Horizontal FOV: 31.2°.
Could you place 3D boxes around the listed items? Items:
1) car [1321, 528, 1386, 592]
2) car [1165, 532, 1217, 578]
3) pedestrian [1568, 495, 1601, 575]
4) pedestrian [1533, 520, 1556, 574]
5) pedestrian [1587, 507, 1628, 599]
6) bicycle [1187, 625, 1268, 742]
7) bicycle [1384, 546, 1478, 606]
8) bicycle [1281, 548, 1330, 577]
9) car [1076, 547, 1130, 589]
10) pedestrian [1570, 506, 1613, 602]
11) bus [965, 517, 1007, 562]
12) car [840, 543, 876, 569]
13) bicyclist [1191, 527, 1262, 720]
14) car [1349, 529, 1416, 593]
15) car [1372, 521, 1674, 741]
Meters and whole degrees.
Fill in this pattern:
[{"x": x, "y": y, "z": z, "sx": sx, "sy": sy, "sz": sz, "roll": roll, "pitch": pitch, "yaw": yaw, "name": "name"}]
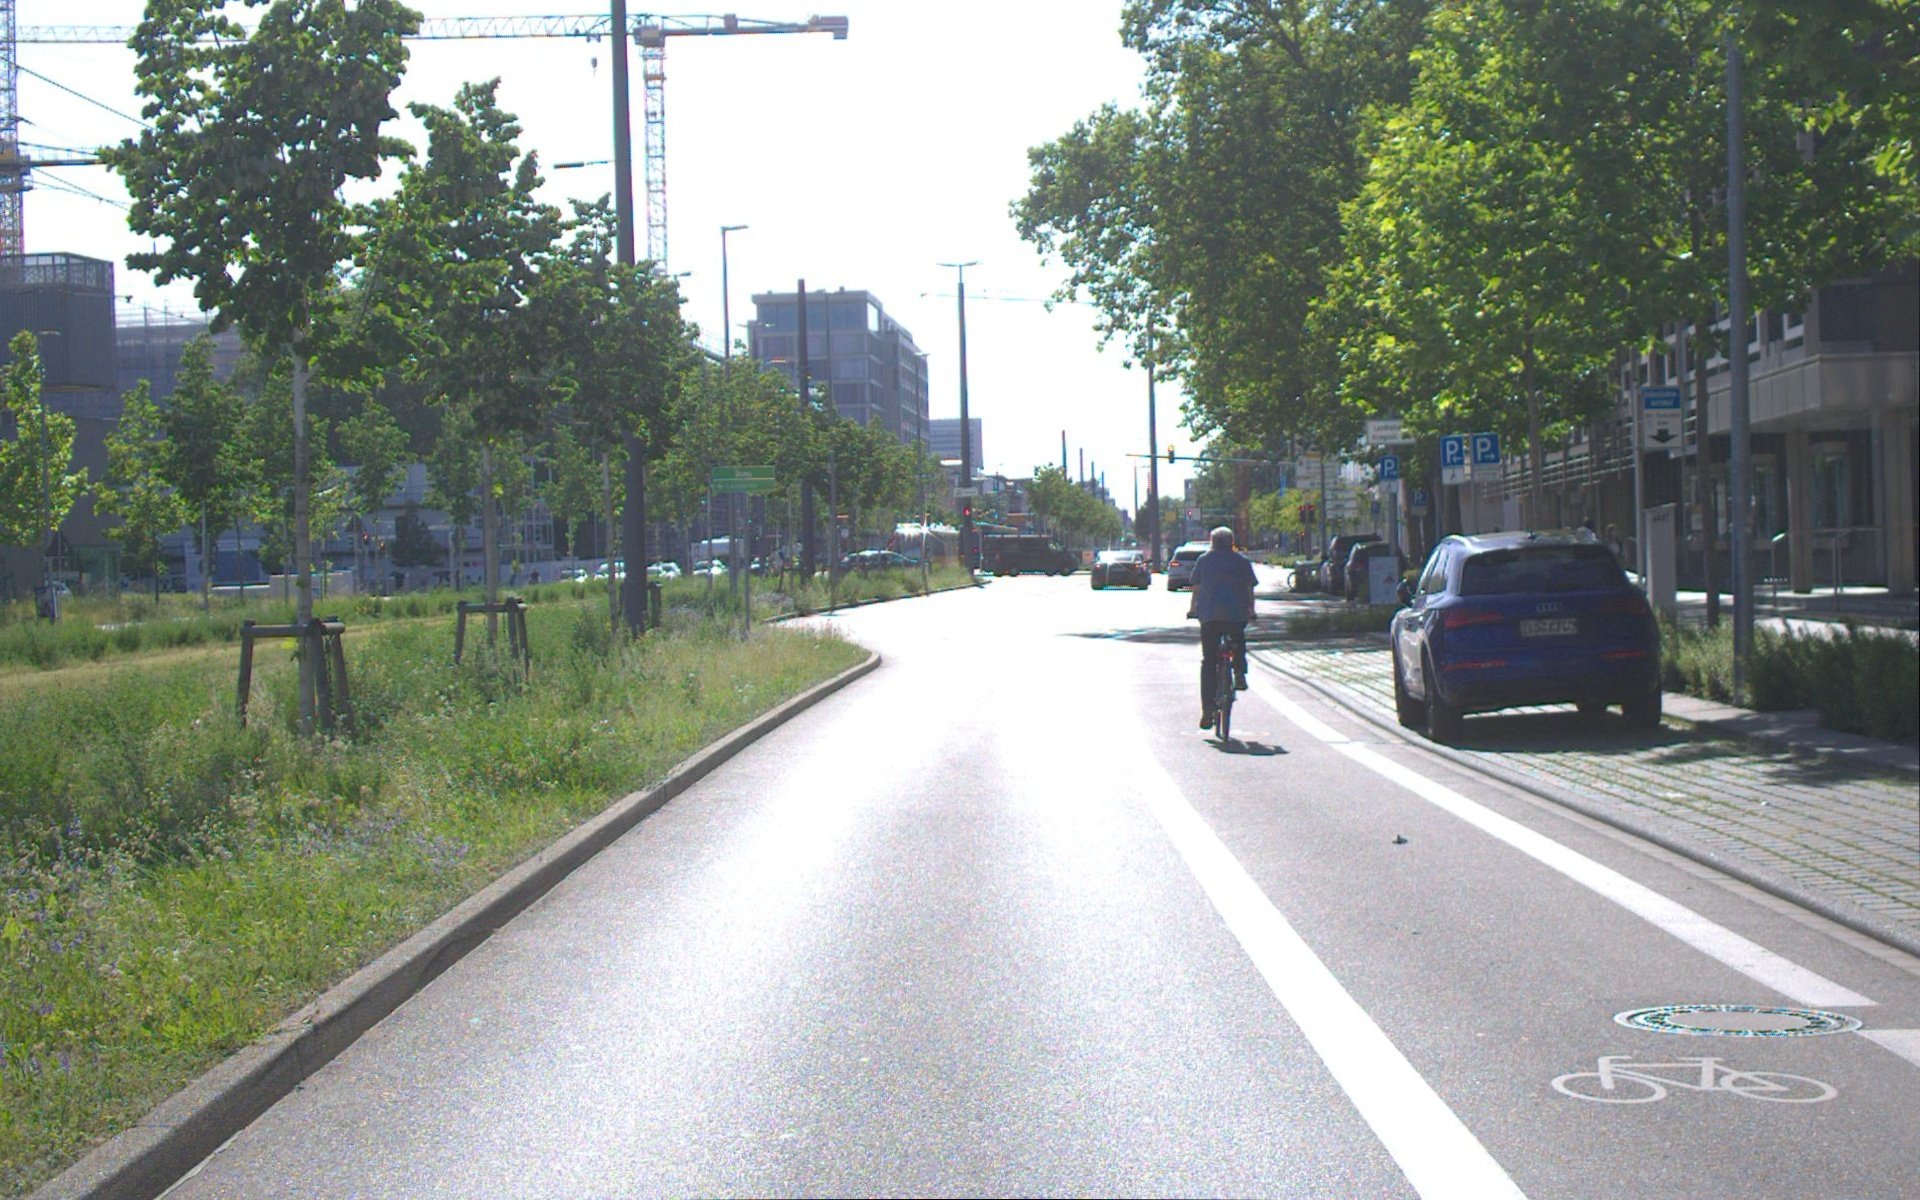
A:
[{"x": 11.869, "y": -1.220, "z": 103.935, "sx": 1.704, "sy": 1.784, "sz": 4.192, "roll": -3, "pitch": 1, "yaw": 5, "name": "car"}, {"x": 8.471, "y": -1.666, "z": 125.653, "sx": 1.722, "sy": 1.612, "sz": 4.185, "roll": -1, "pitch": 1, "yaw": 6, "name": "car"}, {"x": 13.554, "y": -1.405, "z": 74.616, "sx": 0.511, "sy": 1.695, "sz": 0.774, "roll": -3, "pitch": 1, "yaw": 4, "name": "pedestrian"}, {"x": 17.189, "y": -1.564, "z": 101.063, "sx": 0.505, "sy": 1.579, "sz": 0.635, "roll": -1, "pitch": 1, "yaw": -4, "name": "pedestrian"}, {"x": 10.655, "y": -0.776, "z": 56.570, "sx": 0.511, "sy": 1.469, "sz": 0.736, "roll": -3, "pitch": 1, "yaw": 4, "name": "pedestrian"}, {"x": 2.242, "y": 0.685, "z": 28.955, "sx": 0.497, "sy": 0.903, "sz": 2.197, "roll": 0, "pitch": 1, "yaw": 0, "name": "bicycle"}, {"x": 10.167, "y": -0.524, "z": 74.214, "sx": 1.937, "sy": 1.232, "sz": 0.579, "roll": -1, "pitch": 1, "yaw": 2, "name": "bicycle"}, {"x": 12.527, "y": -1.353, "z": 124.804, "sx": 1.693, "sy": 0.954, "sz": 0.478, "roll": -3, "pitch": 1, "yaw": 1, "name": "bicycle"}, {"x": 5.407, "y": -1.214, "z": 129.612, "sx": 1.912, "sy": 1.481, "sz": 4.009, "roll": -1, "pitch": 1, "yaw": 4, "name": "car"}, {"x": 11.522, "y": -0.838, "z": 62.748, "sx": 0.647, "sy": 1.722, "sz": 0.803, "roll": -1, "pitch": 1, "yaw": 4, "name": "pedestrian"}, {"x": 1.802, "y": -4.151, "z": 238.024, "sx": 2.628, "sy": 2.949, "sz": 9.898, "roll": 1, "pitch": 0, "yaw": 2, "name": "bus"}, {"x": -4.803, "y": -2.068, "z": 161.874, "sx": 1.376, "sy": 1.174, "sz": 3.220, "roll": 1, "pitch": 0, "yaw": 4, "name": "car"}, {"x": 2.240, "y": 0.193, "z": 28.937, "sx": 0.512, "sy": 1.595, "sz": 0.536, "roll": -1, "pitch": 1, "yaw": 0, "name": "bicyclist"}, {"x": 11.353, "y": -1.080, "z": 92.652, "sx": 1.704, "sy": 1.637, "sz": 4.635, "roll": -1, "pitch": 1, "yaw": 6, "name": "car"}, {"x": 4.742, "y": 0.203, "z": 29.612, "sx": 1.849, "sy": 1.651, "sz": 4.848, "roll": -3, "pitch": 1, "yaw": 2, "name": "car"}]
